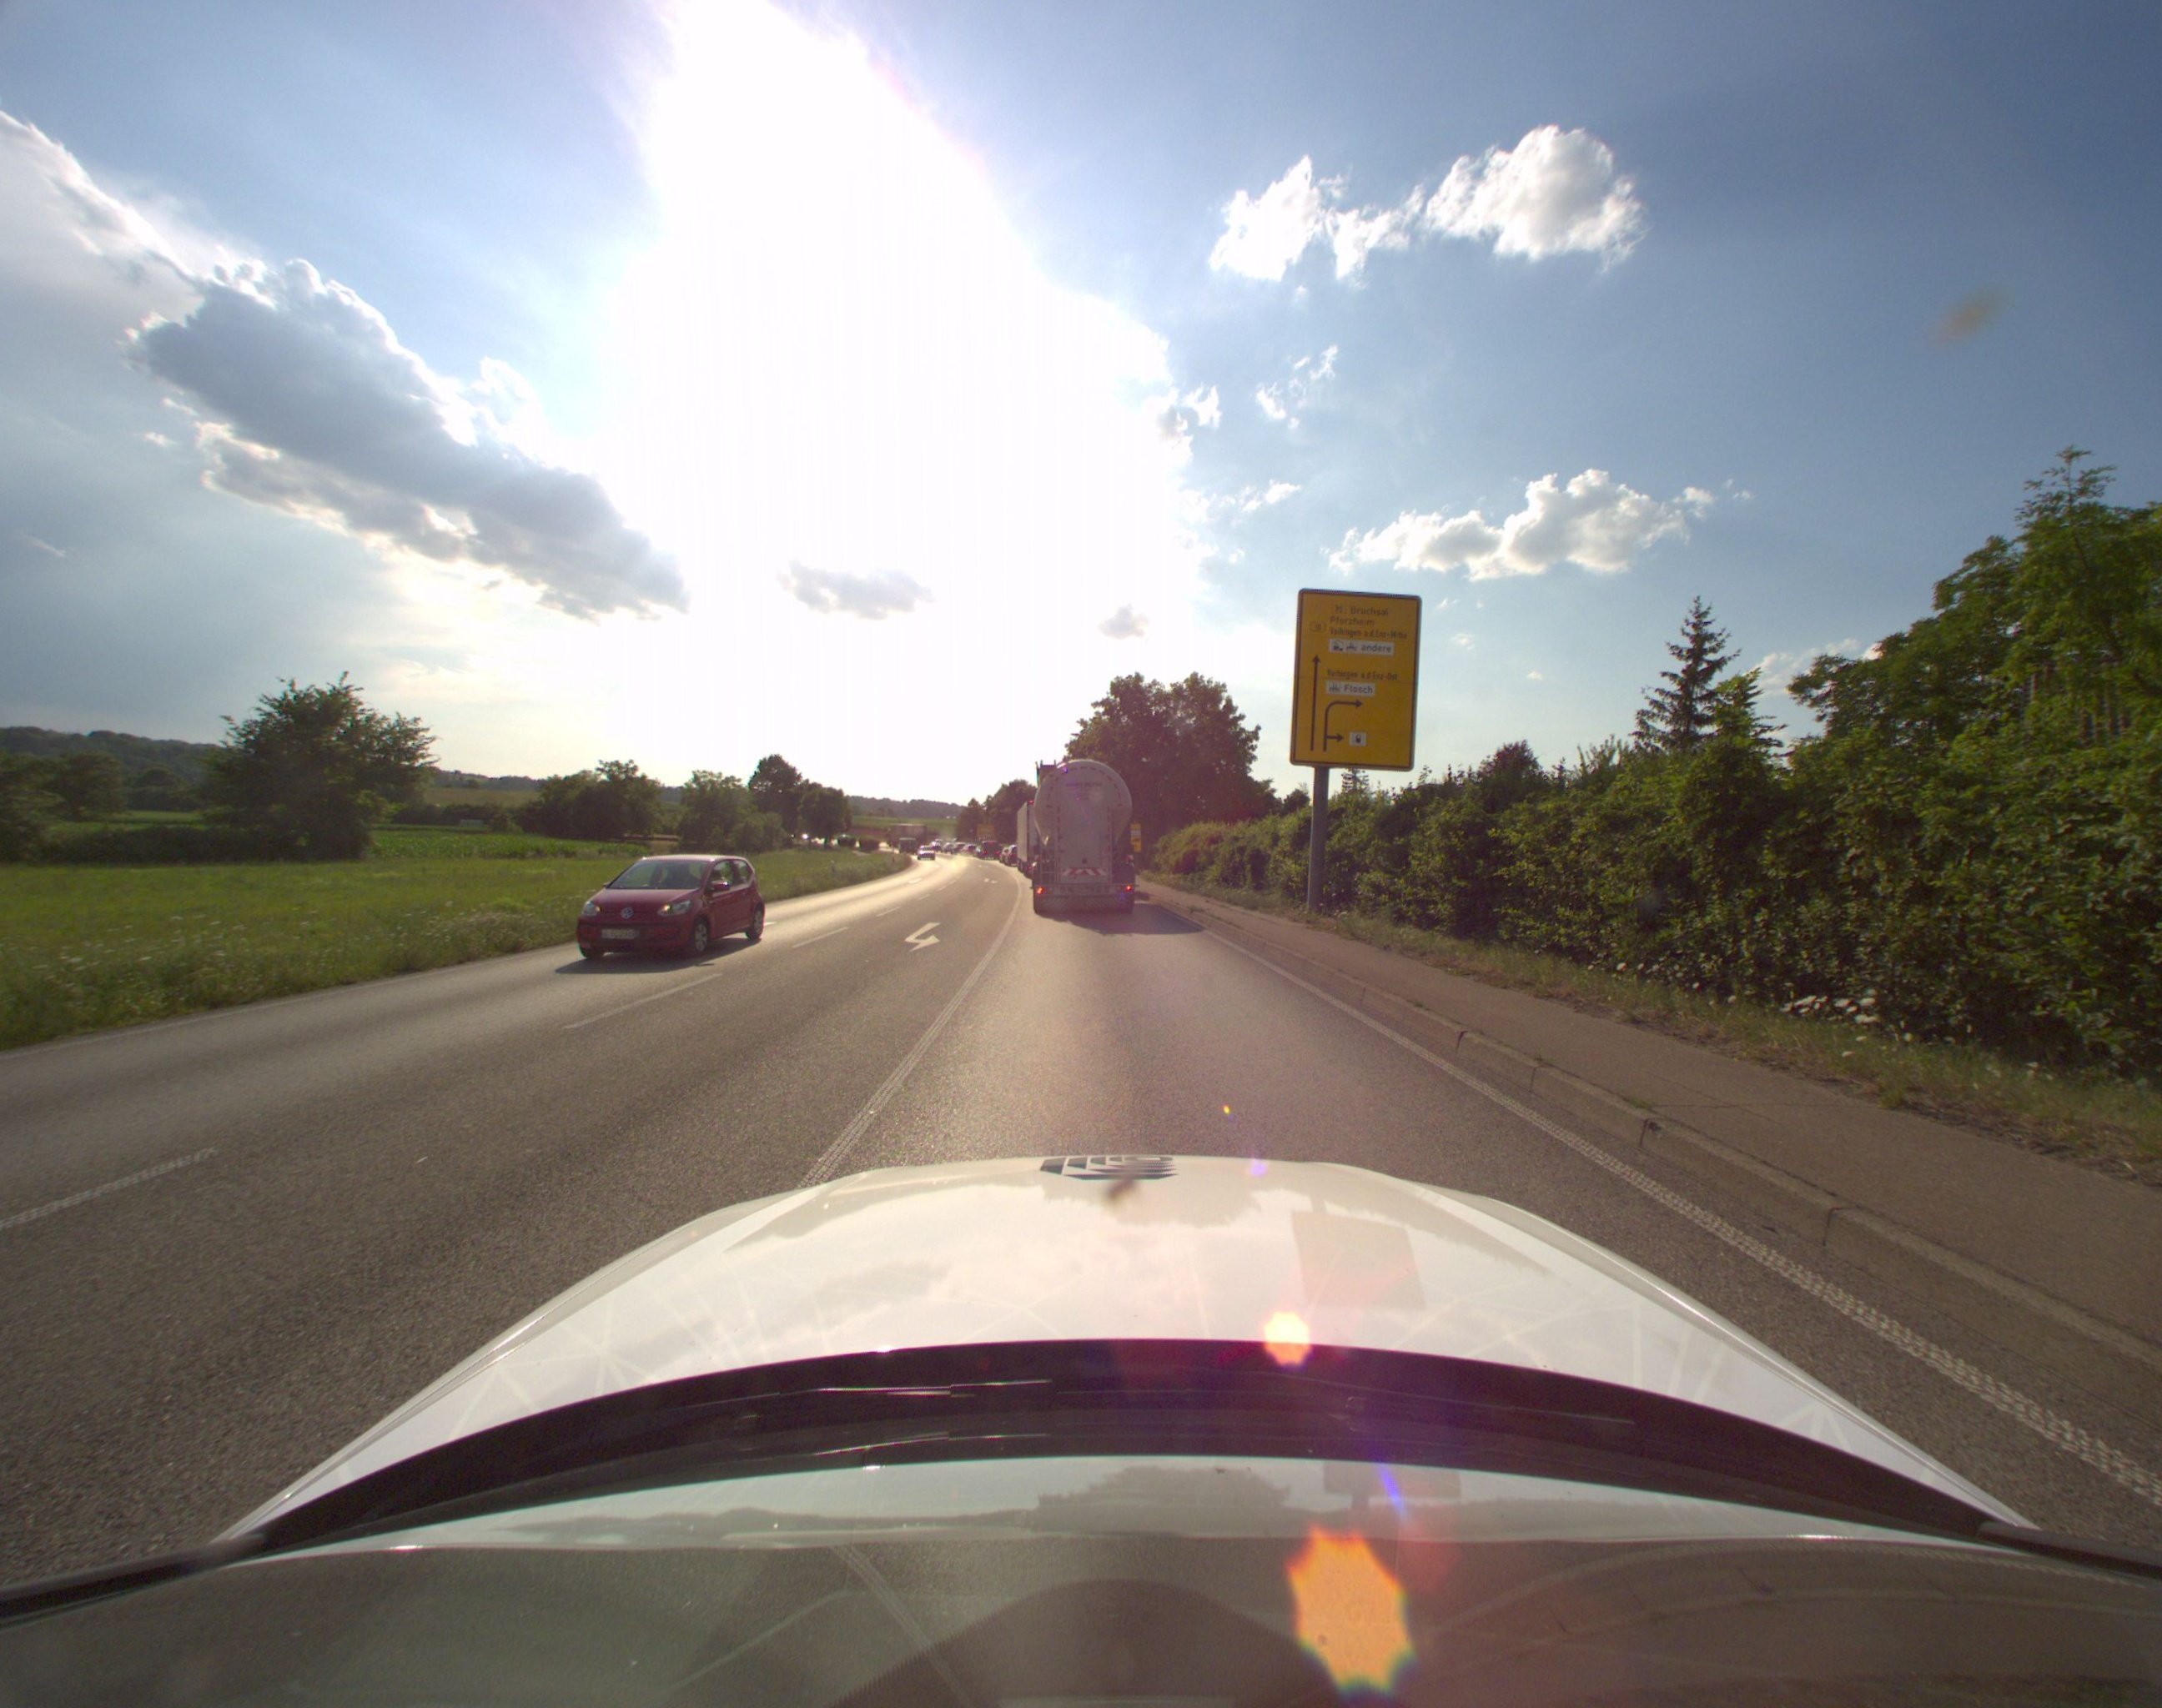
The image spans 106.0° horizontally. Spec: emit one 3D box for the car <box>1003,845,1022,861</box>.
[{"bbox_3d":[-6.280,-0.106,74.172,1.579,1.340,3.416,1,0,-8],"label":"car"}]

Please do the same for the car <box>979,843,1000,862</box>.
[{"bbox_3d":[-9.938,-0.214,88.273,1.864,2.013,3.703,0,1,-13],"label":"car"}]

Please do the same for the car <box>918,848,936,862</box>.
[{"bbox_3d":[-16.151,0.057,85.419,1.707,1.428,4.164,0,0,-10],"label":"car"}]

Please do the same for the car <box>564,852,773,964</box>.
[{"bbox_3d":[-6.284,0.729,12.882,1.582,1.466,3.603,-1,0,-3],"label":"car"}]

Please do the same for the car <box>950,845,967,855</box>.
[{"bbox_3d":[-16.295,-0.512,108.460,1.585,1.340,3.403,1,0,-20],"label":"car"}]

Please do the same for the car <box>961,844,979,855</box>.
[{"bbox_3d":[-13.943,-0.579,102.502,1.585,1.340,3.403,1,0,-20],"label":"car"}]

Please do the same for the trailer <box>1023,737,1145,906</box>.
[{"bbox_3d":[-0.123,-0.810,24.381,2.902,4.006,9.921,0,0,-2],"label":"trailer"}]

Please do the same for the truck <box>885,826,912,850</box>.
[{"bbox_3d":[-33.025,-2.869,147.228,3.393,4.350,5.658,1,0,-26],"label":"truck"}]

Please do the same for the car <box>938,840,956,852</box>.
[{"bbox_3d":[-23.354,-1.490,141.643,2.004,2.013,3.966,0,2,-26],"label":"car"}]

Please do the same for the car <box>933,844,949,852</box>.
[{"bbox_3d":[-21.207,-0.942,122.959,1.775,1.205,3.403,1,0,-20],"label":"car"}]

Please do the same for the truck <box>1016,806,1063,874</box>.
[{"bbox_3d":[-2.744,-0.914,54.917,2.944,4.303,4.927,1,0,-2],"label":"truck"}]

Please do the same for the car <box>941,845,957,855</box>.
[{"bbox_3d":[-18.859,-0.613,116.370,1.585,1.340,3.403,1,0,-20],"label":"car"}]

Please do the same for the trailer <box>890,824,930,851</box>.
[{"bbox_3d":[-29.493,-2.772,139.824,3.392,4.350,14.175,1,0,-25],"label":"trailer"}]

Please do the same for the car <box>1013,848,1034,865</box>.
[{"bbox_3d":[-4.687,0.200,65.929,1.578,1.340,3.419,1,0,-6],"label":"car"}]

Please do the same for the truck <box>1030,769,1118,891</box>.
[{"bbox_3d":[-0.309,-0.809,28.795,2.902,4.006,4.056,0,0,-3],"label":"truck"}]

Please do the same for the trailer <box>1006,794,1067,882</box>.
[{"bbox_3d":[-2.494,-0.858,47.985,2.947,4.315,14.163,1,0,-2],"label":"trailer"}]

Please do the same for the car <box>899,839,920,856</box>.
[{"bbox_3d":[-22.341,-0.850,105.985,2.005,2.136,4.747,0,0,-20],"label":"car"}]
